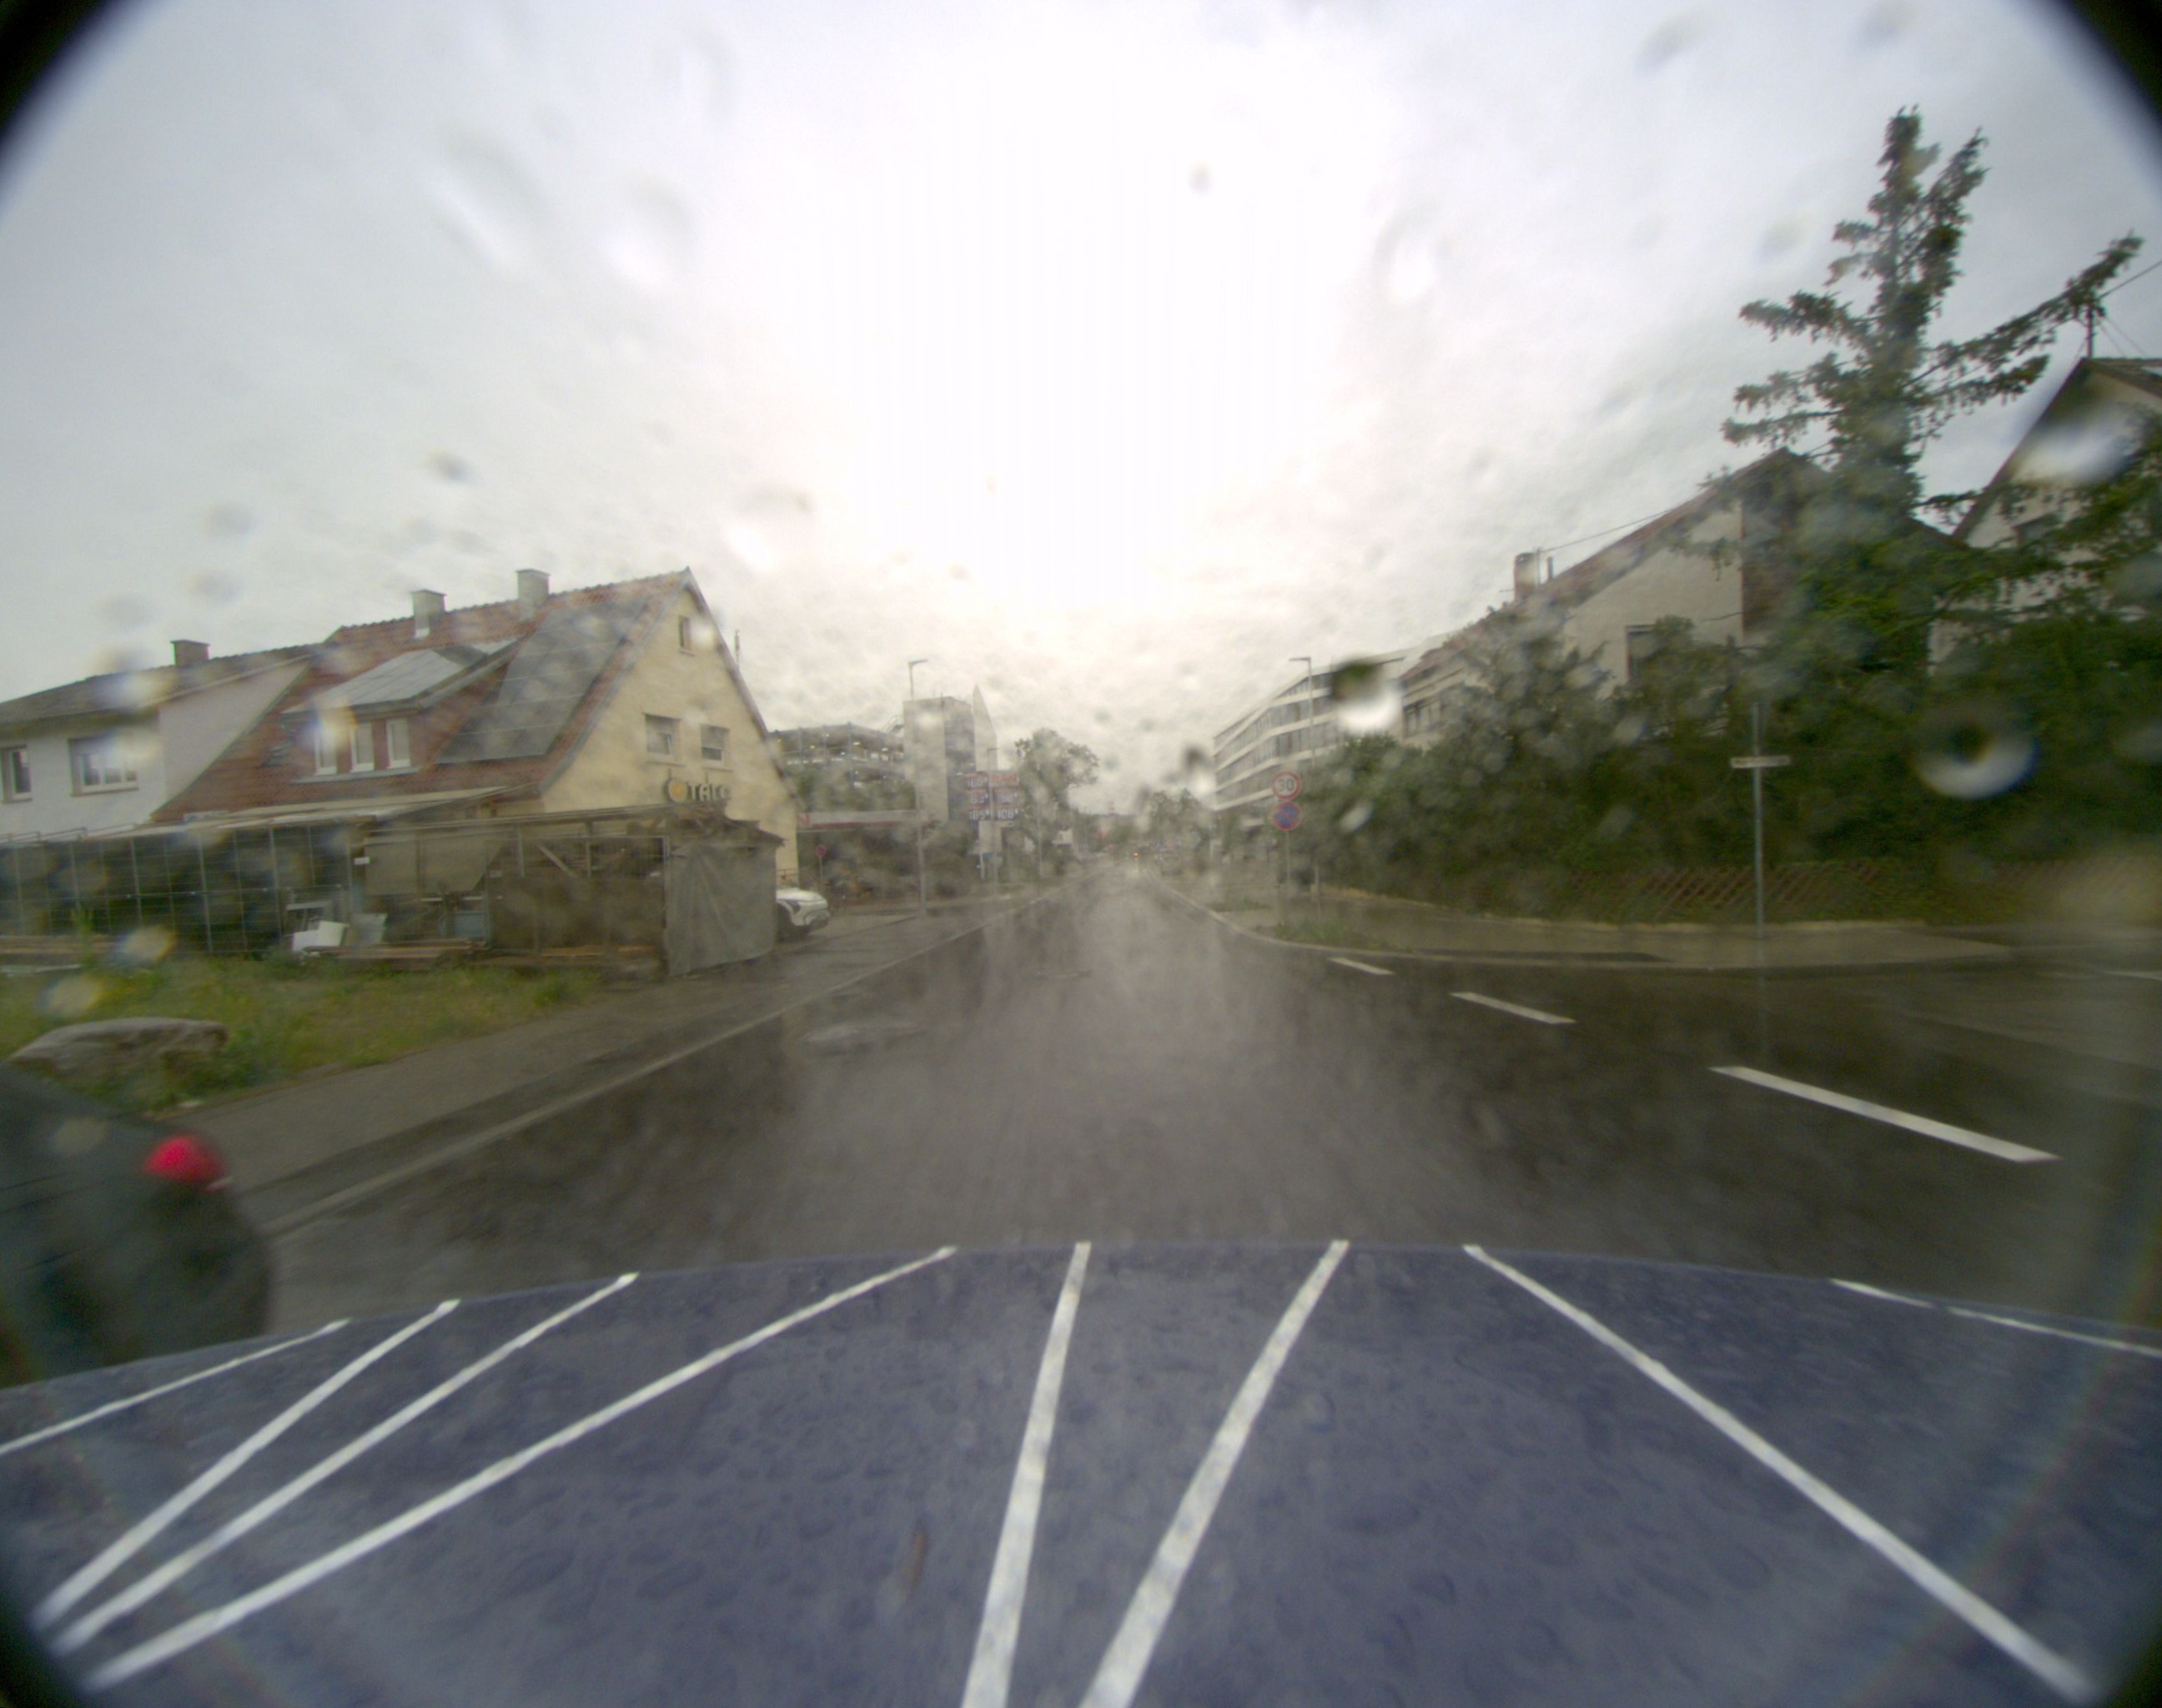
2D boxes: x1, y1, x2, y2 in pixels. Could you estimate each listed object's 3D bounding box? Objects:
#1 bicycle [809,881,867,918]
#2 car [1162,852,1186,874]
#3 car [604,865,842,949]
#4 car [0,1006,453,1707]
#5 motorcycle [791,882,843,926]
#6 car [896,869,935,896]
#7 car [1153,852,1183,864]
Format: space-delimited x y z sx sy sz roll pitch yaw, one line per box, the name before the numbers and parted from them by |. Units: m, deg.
bicycle | -7.843 1.472 24.548 1.772 1.089 0.490 -3 0 17
car | 7.847 0.714 64.614 1.841 1.696 4.325 -3 0 5
car | -7.626 1.103 16.468 4.226 1.601 1.861 -1 1 2
car | -3.013 1.211 0.262 1.773 1.328 4.321 -4 0 3
motorcycle | -7.501 1.397 21.659 0.488 1.089 2.001 -3 -1 7
car | -9.659 1.654 44.532 1.694 1.332 4.337 -3 0 -6
car | 12.631 0.524 109.971 4.165 1.411 2.001 -5 0 8
